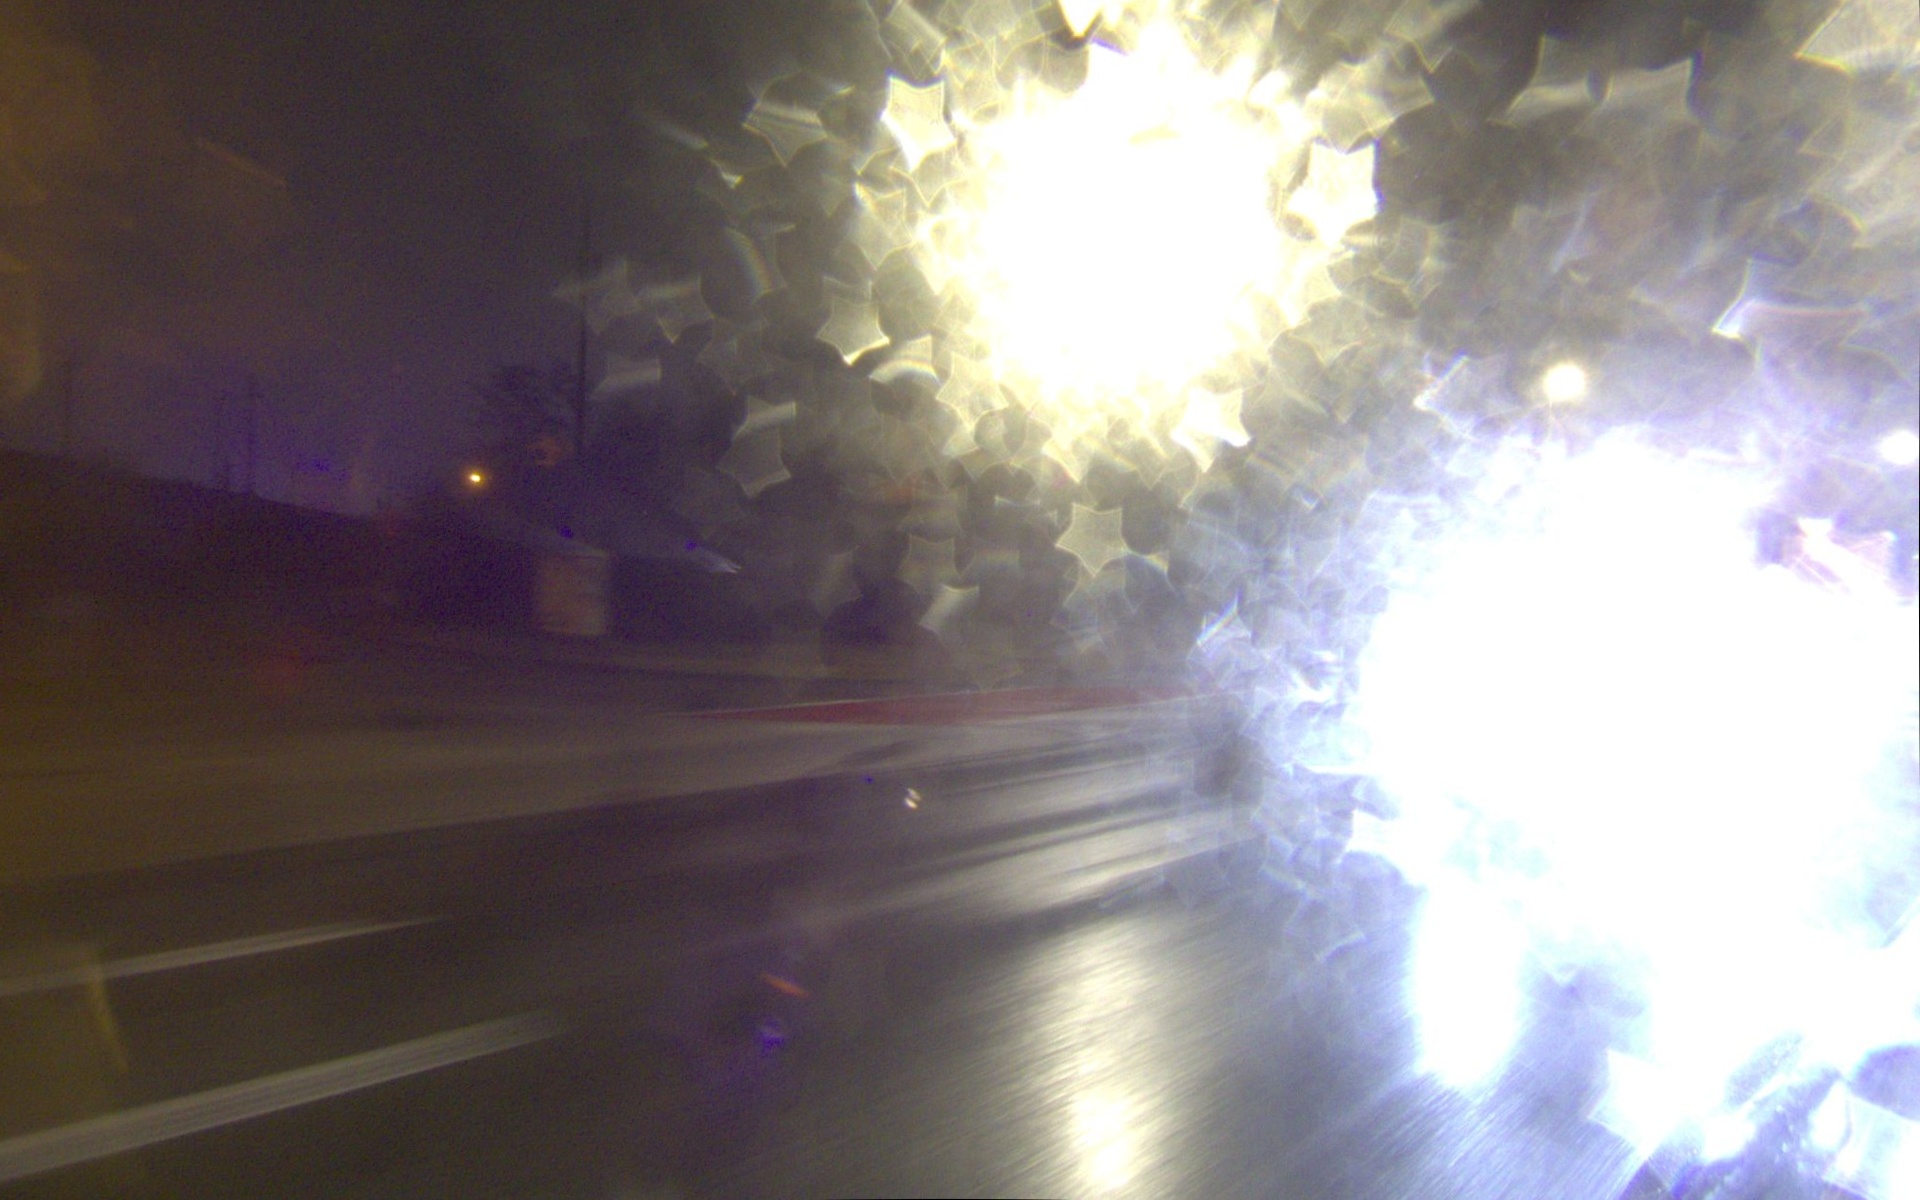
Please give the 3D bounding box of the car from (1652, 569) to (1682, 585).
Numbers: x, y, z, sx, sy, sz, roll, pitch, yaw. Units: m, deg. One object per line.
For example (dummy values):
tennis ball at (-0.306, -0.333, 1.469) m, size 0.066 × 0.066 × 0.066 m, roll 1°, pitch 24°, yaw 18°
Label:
car at (69.909, -2.317, 100.119) m, size 1.752 × 1.475 × 3.921 m, roll -1°, pitch 2°, yaw 24°

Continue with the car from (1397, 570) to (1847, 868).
car at (4.970, 0.623, 7.368) m, size 1.994 × 1.544 × 3.936 m, roll -2°, pitch -1°, yaw 44°

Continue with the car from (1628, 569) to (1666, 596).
car at (55.337, -1.403, 81.557) m, size 1.982 × 1.957 × 3.961 m, roll 5°, pitch 3°, yaw 28°

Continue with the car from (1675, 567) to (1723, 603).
car at (43.696, -0.879, 59.788) m, size 1.992 × 1.957 × 3.943 m, roll 5°, pitch 3°, yaw 39°

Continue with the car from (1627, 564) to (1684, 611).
car at (29.620, -0.591, 43.138) m, size 1.925 × 1.896 × 3.952 m, roll 0°, pitch 2°, yaw 34°
